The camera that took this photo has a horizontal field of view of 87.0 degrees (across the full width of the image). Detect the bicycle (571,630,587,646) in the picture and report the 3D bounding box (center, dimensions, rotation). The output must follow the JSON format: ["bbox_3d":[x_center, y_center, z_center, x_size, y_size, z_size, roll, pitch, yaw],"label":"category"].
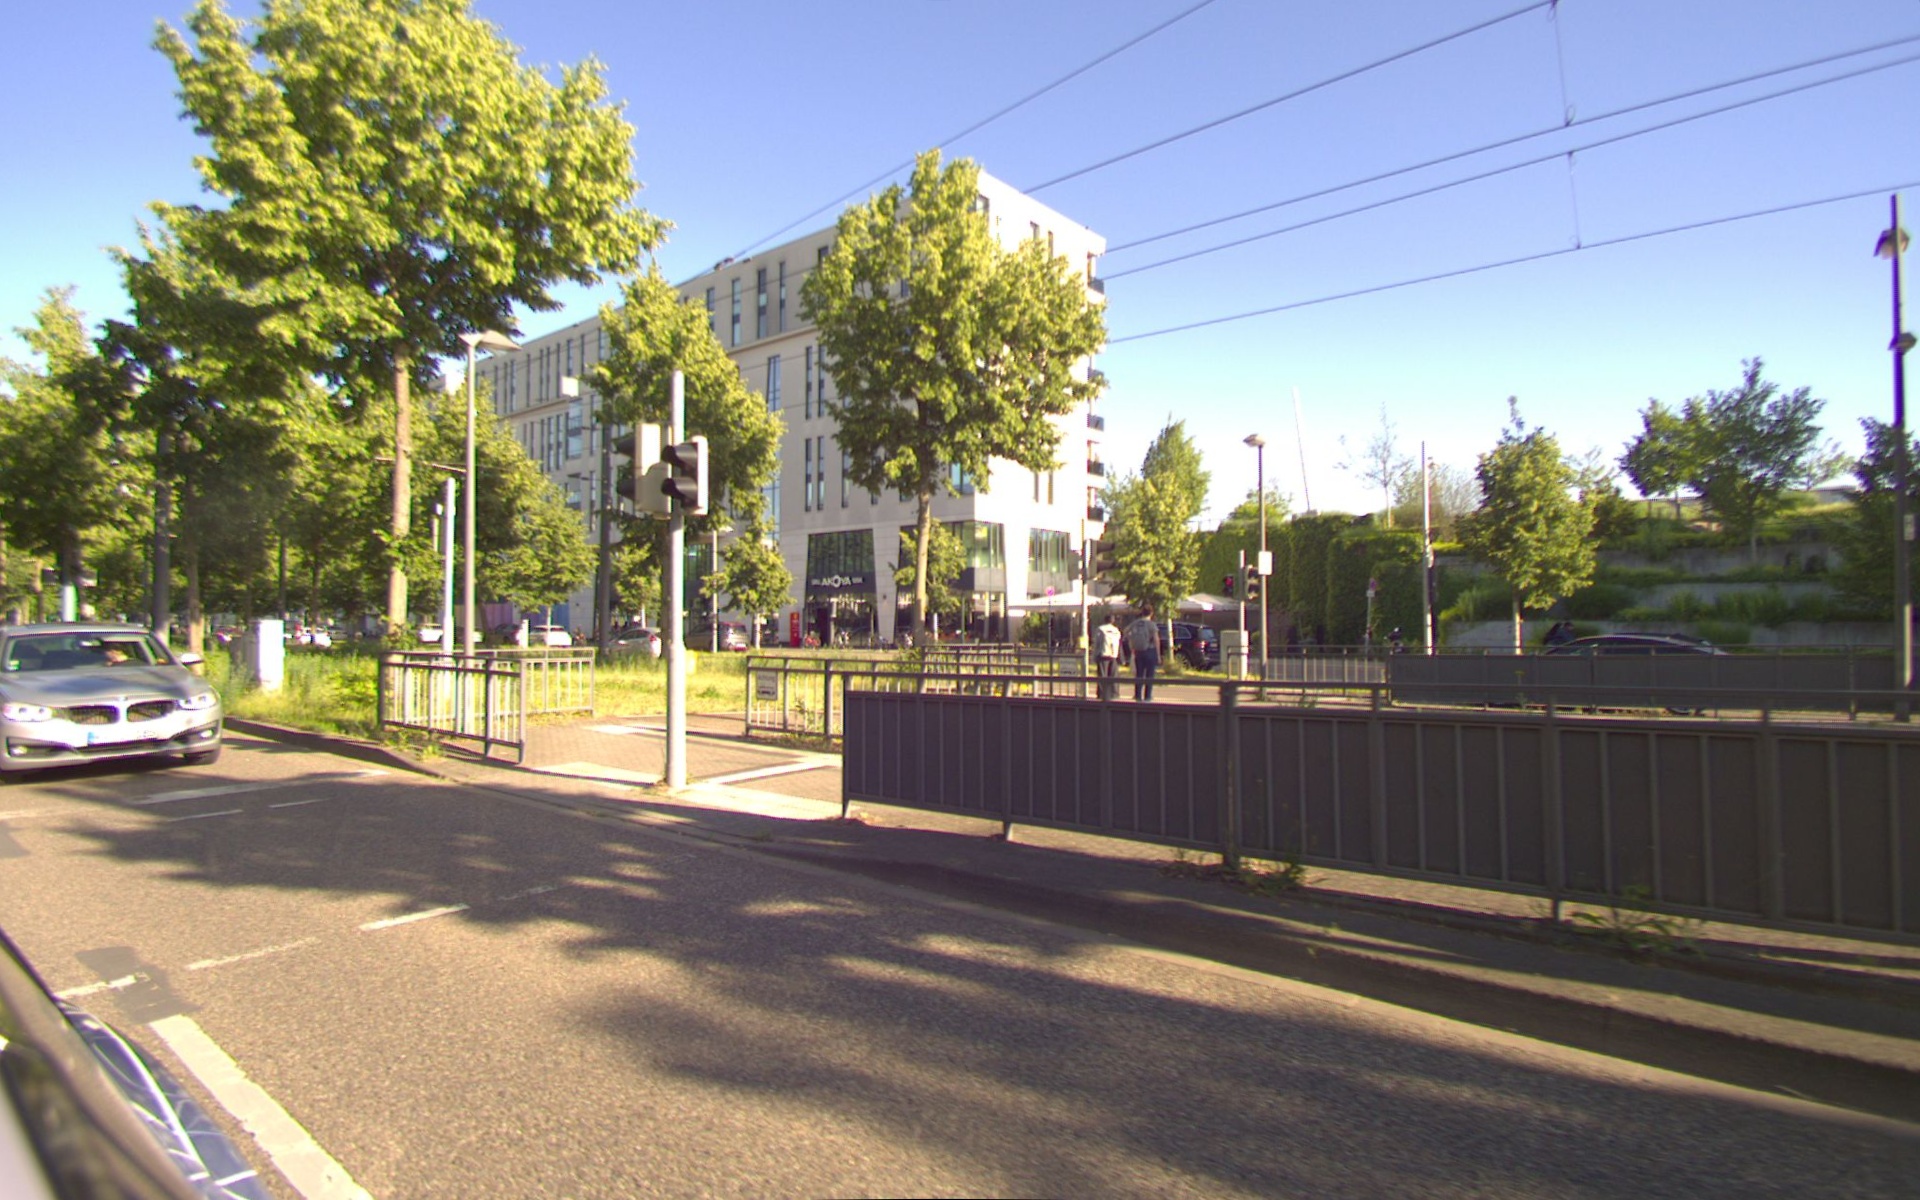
[{"bbox_3d":[-25.670,2.557,68.159,1.484,1.024,0.425,-1,0,43],"label":"bicycle"}]

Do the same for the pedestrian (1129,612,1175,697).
[{"bbox_3d":[3.521,0.981,18.542,0.603,1.508,0.536,-1,0,45],"label":"pedestrian"}]

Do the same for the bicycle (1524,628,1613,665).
[{"bbox_3d":[17.882,1.346,29.779,2.187,1.009,0.491,-1,0,41],"label":"bicycle"}]

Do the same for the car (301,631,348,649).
[{"bbox_3d":[-55.657,3.495,88.611,4.919,1.452,1.974,-1,0,39],"label":"car"}]

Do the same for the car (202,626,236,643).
[{"bbox_3d":[-81.234,3.793,110.959,4.333,1.742,1.974,-1,0,39],"label":"car"}]

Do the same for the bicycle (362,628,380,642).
[{"bbox_3d":[-57.189,3.401,98.315,0.935,1.290,2.775,-1,0,-42],"label":"bicycle"}]

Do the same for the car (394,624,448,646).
[{"bbox_3d":[-39.627,2.551,74.368,4.453,1.452,1.973,-1,0,41],"label":"car"}]

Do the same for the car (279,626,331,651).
[{"bbox_3d":[-43.294,2.517,66.848,4.167,1.583,1.971,-2,-2,44],"label":"car"}]

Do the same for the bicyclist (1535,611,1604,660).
[{"bbox_3d":[17.907,1.031,29.757,1.659,1.416,0.484,-1,0,41],"label":"bicyclist"}]

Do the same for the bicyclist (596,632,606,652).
[{"bbox_3d":[-24.289,2.820,68.444,0.719,1.313,0.364,-1,0,42],"label":"bicyclist"}]

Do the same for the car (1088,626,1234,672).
[{"bbox_3d":[6.792,1.637,34.561,4.609,1.445,1.859,-2,-2,42],"label":"car"}]

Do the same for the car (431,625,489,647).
[{"bbox_3d":[-34.984,2.494,70.751,4.450,1.452,1.974,-1,0,39],"label":"car"}]

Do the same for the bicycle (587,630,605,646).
[{"bbox_3d":[-24.762,2.606,68.885,1.800,1.024,0.375,-1,0,43],"label":"bicycle"}]

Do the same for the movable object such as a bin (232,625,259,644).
[{"bbox_3d":[-72.584,3.482,102.822,1.554,1.808,1.951,-1,0,39],"label":"movable object such as a bin"}]

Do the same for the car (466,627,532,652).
[{"bbox_3d":[-30.313,2.558,66.490,4.930,1.452,1.974,-1,0,39],"label":"car"}]

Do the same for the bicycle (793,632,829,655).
[{"bbox_3d":[-8.430,2.447,57.169,2.239,1.207,0.726,-1,0,40],"label":"bicycle"}]

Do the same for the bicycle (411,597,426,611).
[{"bbox_3d":[-49.354,0.353,92.271,1.606,1.290,0.592,-1,0,39],"label":"bicycle"}]

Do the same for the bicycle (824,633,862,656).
[{"bbox_3d":[-6.394,2.422,55.354,2.239,1.207,0.726,-1,0,40],"label":"bicycle"}]

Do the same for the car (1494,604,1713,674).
[{"bbox_3d":[16.805,0.957,26.569,4.609,1.633,1.859,-1,0,42],"label":"car"}]

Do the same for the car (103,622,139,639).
[{"bbox_3d":[-76.709,2.755,92.495,4.456,1.452,1.972,-1,0,43],"label":"car"}]

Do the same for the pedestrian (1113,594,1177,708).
[{"bbox_3d":[3.107,0.826,16.982,0.725,1.850,0.813,-1,0,38],"label":"pedestrian"}]

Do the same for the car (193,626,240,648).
[{"bbox_3d":[-57.145,2.802,77.766,4.317,1.539,1.973,-1,0,41],"label":"car"}]

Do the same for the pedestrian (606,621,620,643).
[{"bbox_3d":[-26.221,2.434,76.509,0.718,1.663,0.630,-1,0,33],"label":"pedestrian"}]

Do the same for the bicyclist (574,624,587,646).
[{"bbox_3d":[-25.478,2.349,67.978,0.956,1.429,0.425,-1,0,42],"label":"bicyclist"}]

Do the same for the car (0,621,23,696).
[{"bbox_3d":[-21.855,1.252,21.969,4.000,1.534,1.925,-1,-1,43],"label":"car"}]

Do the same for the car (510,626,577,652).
[{"bbox_3d":[-26.108,2.412,63.324,4.450,1.452,1.974,-1,0,39],"label":"car"}]

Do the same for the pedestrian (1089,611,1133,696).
[{"bbox_3d":[2.796,0.982,18.749,0.543,1.529,0.589,-1,0,-44],"label":"pedestrian"}]

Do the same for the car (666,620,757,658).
[{"bbox_3d":[-12.643,1.947,51.422,4.771,1.785,1.974,-1,0,39],"label":"car"}]

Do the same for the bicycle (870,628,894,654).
[{"bbox_3d":[-4.129,2.149,53.432,0.579,1.262,1.846,-1,0,-28],"label":"bicycle"}]

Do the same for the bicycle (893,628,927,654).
[{"bbox_3d":[-2.597,2.112,52.070,1.839,1.262,0.582,-1,0,41],"label":"bicycle"}]

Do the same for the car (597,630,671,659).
[{"bbox_3d":[-18.025,2.429,55.868,4.263,1.452,1.938,-1,0,41],"label":"car"}]

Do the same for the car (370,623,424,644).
[{"bbox_3d":[-43.395,2.560,77.910,4.773,1.452,1.974,-1,0,39],"label":"car"}]

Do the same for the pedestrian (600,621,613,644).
[{"bbox_3d":[-26.404,2.442,75.607,0.719,1.663,0.629,-1,0,38],"label":"pedestrian"}]

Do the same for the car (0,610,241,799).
[{"bbox_3d":[-9.382,0.929,10.764,4.275,1.590,1.862,-1,0,41],"label":"car"}]

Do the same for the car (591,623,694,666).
[{"bbox_3d":[-12.495,1.711,39.709,3.995,1.497,1.974,-1,0,39],"label":"car"}]
